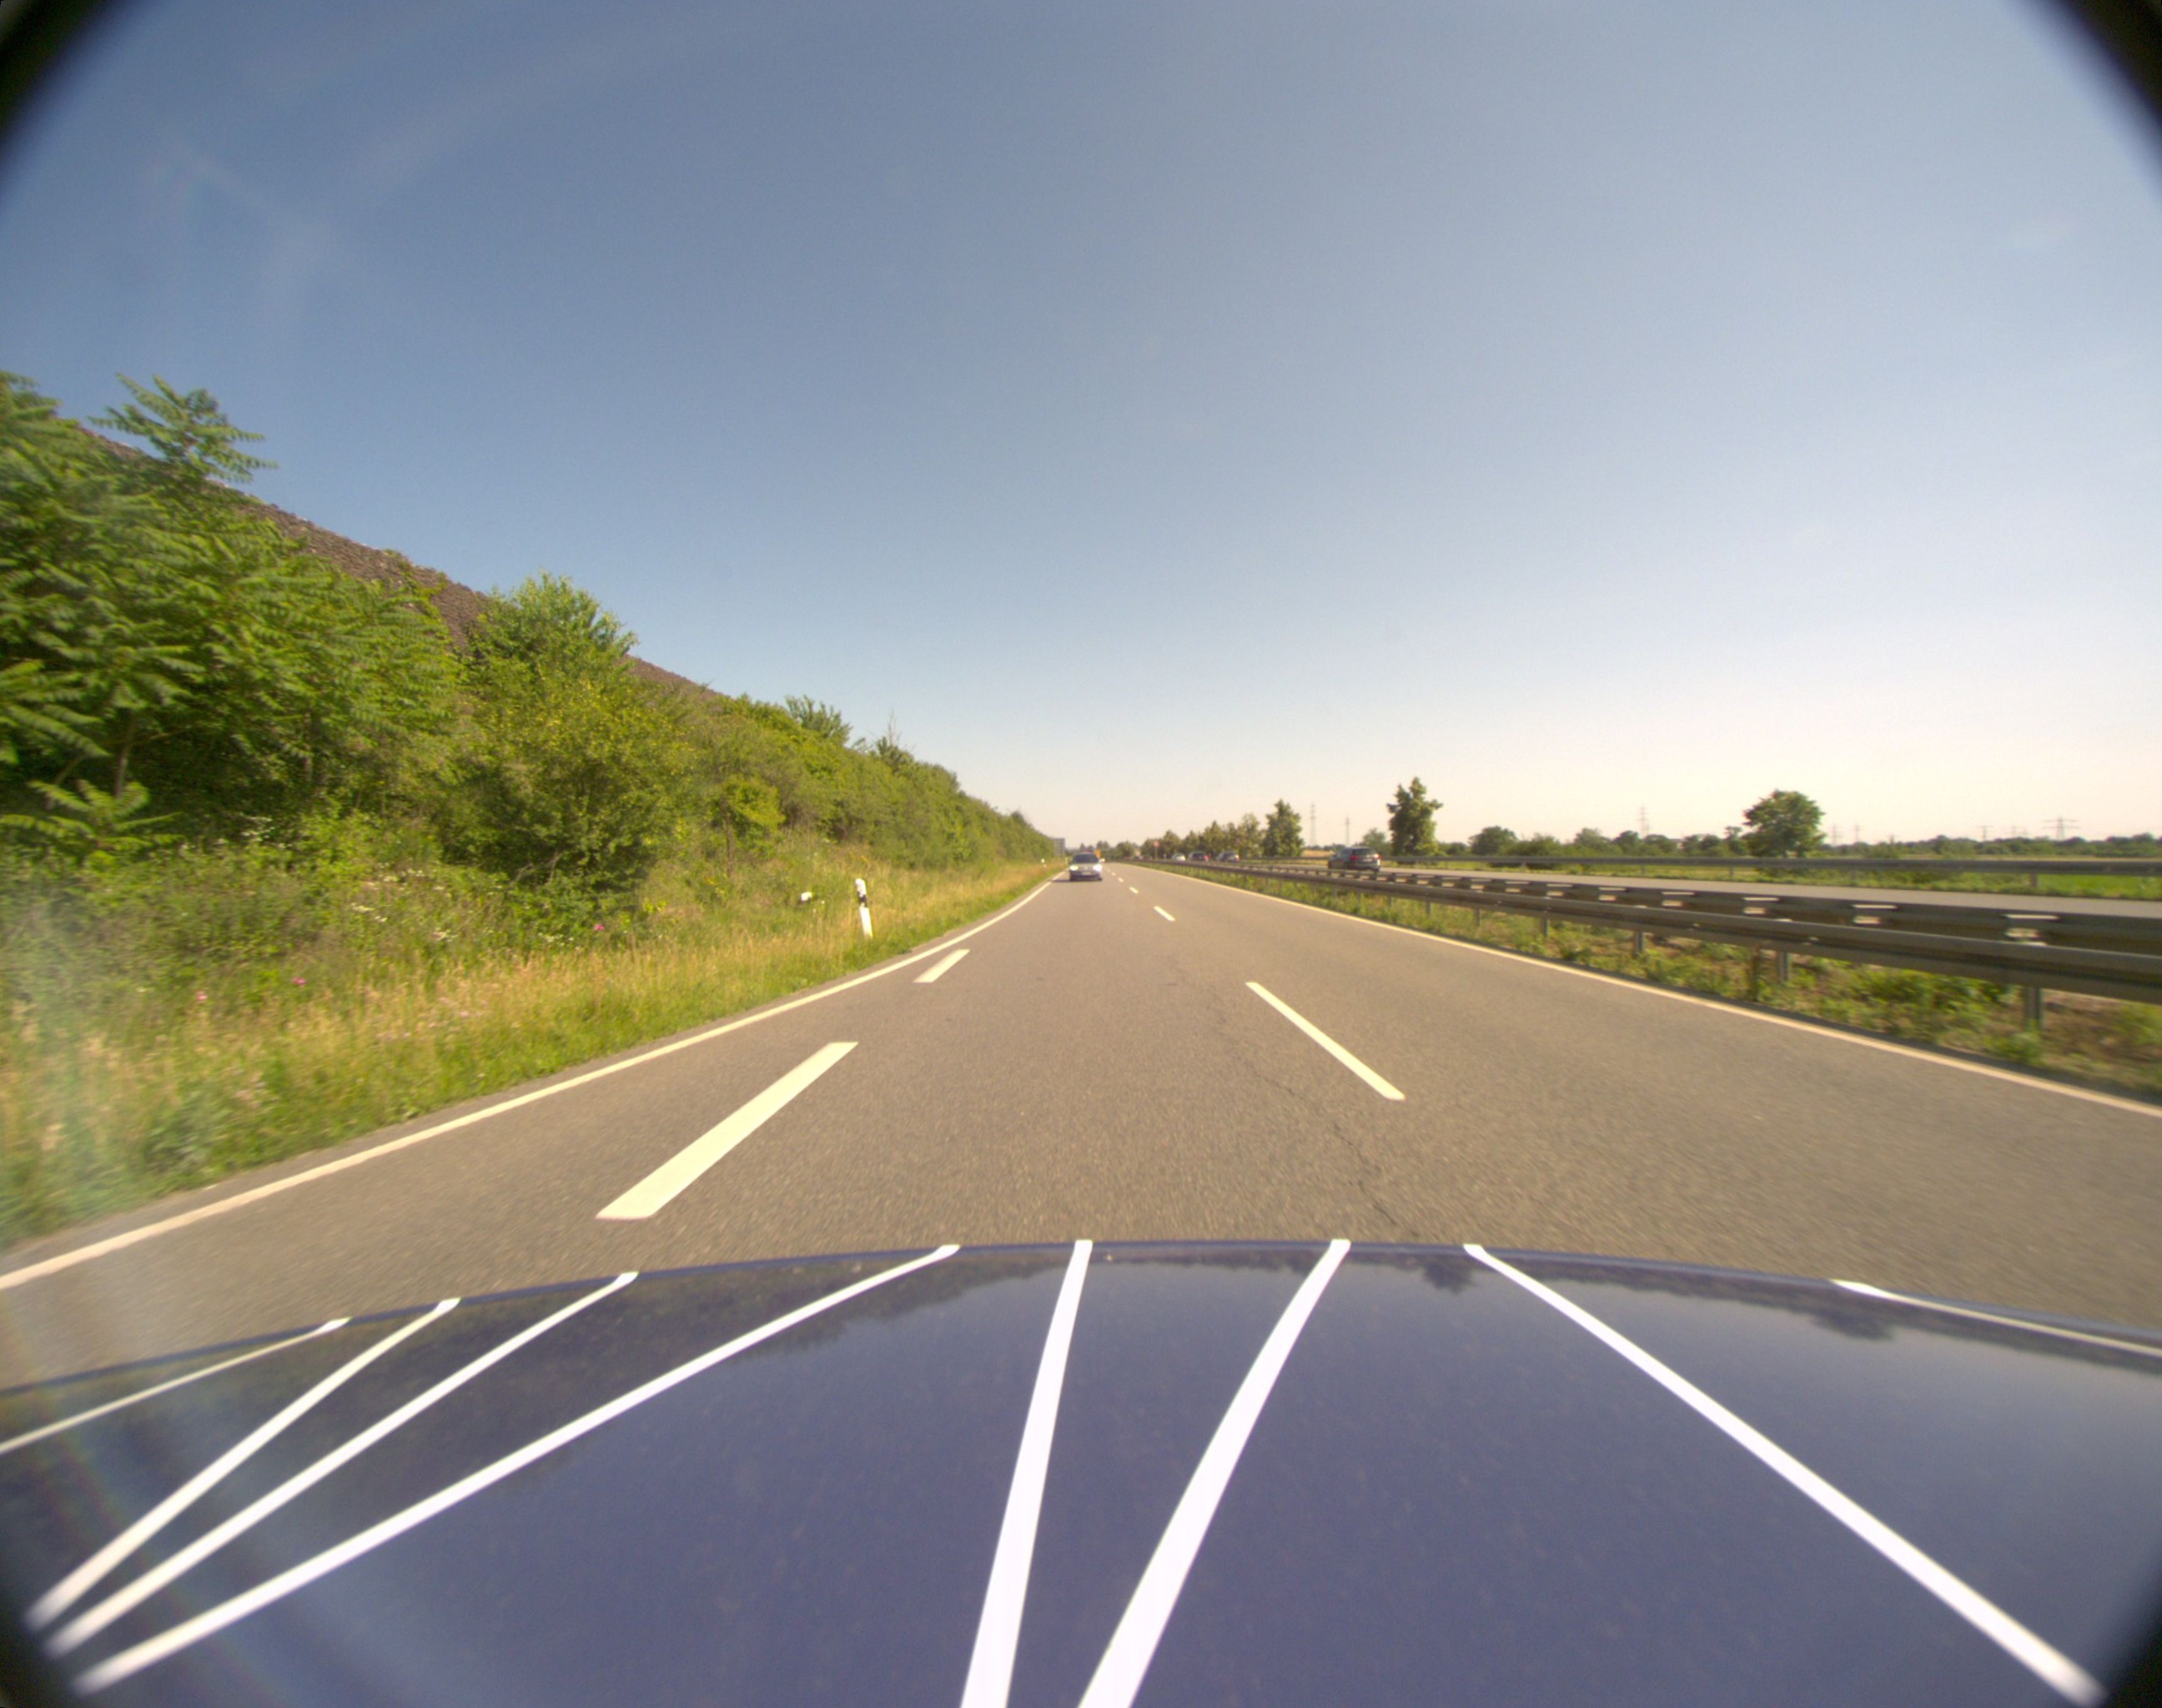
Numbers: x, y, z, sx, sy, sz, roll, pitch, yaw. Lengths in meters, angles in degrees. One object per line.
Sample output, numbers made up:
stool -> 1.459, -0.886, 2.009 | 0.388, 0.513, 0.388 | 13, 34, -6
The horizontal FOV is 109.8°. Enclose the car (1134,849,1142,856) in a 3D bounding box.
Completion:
car -> 13.820, -0.397, 184.809 | 1.730, 1.586, 4.221 | -2, 0, 1

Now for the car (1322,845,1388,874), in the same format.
car -> 15.369, 0.270, 42.905 | 1.872, 1.426, 4.934 | -3, 0, 0

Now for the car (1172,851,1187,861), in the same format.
car -> 15.370, 0.301, 119.108 | 1.826, 1.388, 4.415 | -3, 0, 1

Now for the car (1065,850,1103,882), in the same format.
car -> 0.229, 0.643, 42.411 | 1.854, 1.635, 4.000 | -1, 1, 3

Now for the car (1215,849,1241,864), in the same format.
car -> 15.037, 0.214, 77.789 | 1.717, 1.442, 4.322 | -1, 0, -1

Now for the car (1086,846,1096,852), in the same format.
car -> 1.835, -0.966, 143.540 | 1.790, 1.212, 3.999 | -1, 1, 0

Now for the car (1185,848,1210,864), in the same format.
car -> 11.474, 0.233, 75.164 | 1.819, 1.464, 4.323 | -3, 0, 1

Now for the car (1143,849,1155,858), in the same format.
car -> 12.271, -0.135, 137.369 | 1.717, 1.461, 4.415 | -3, 0, 1
